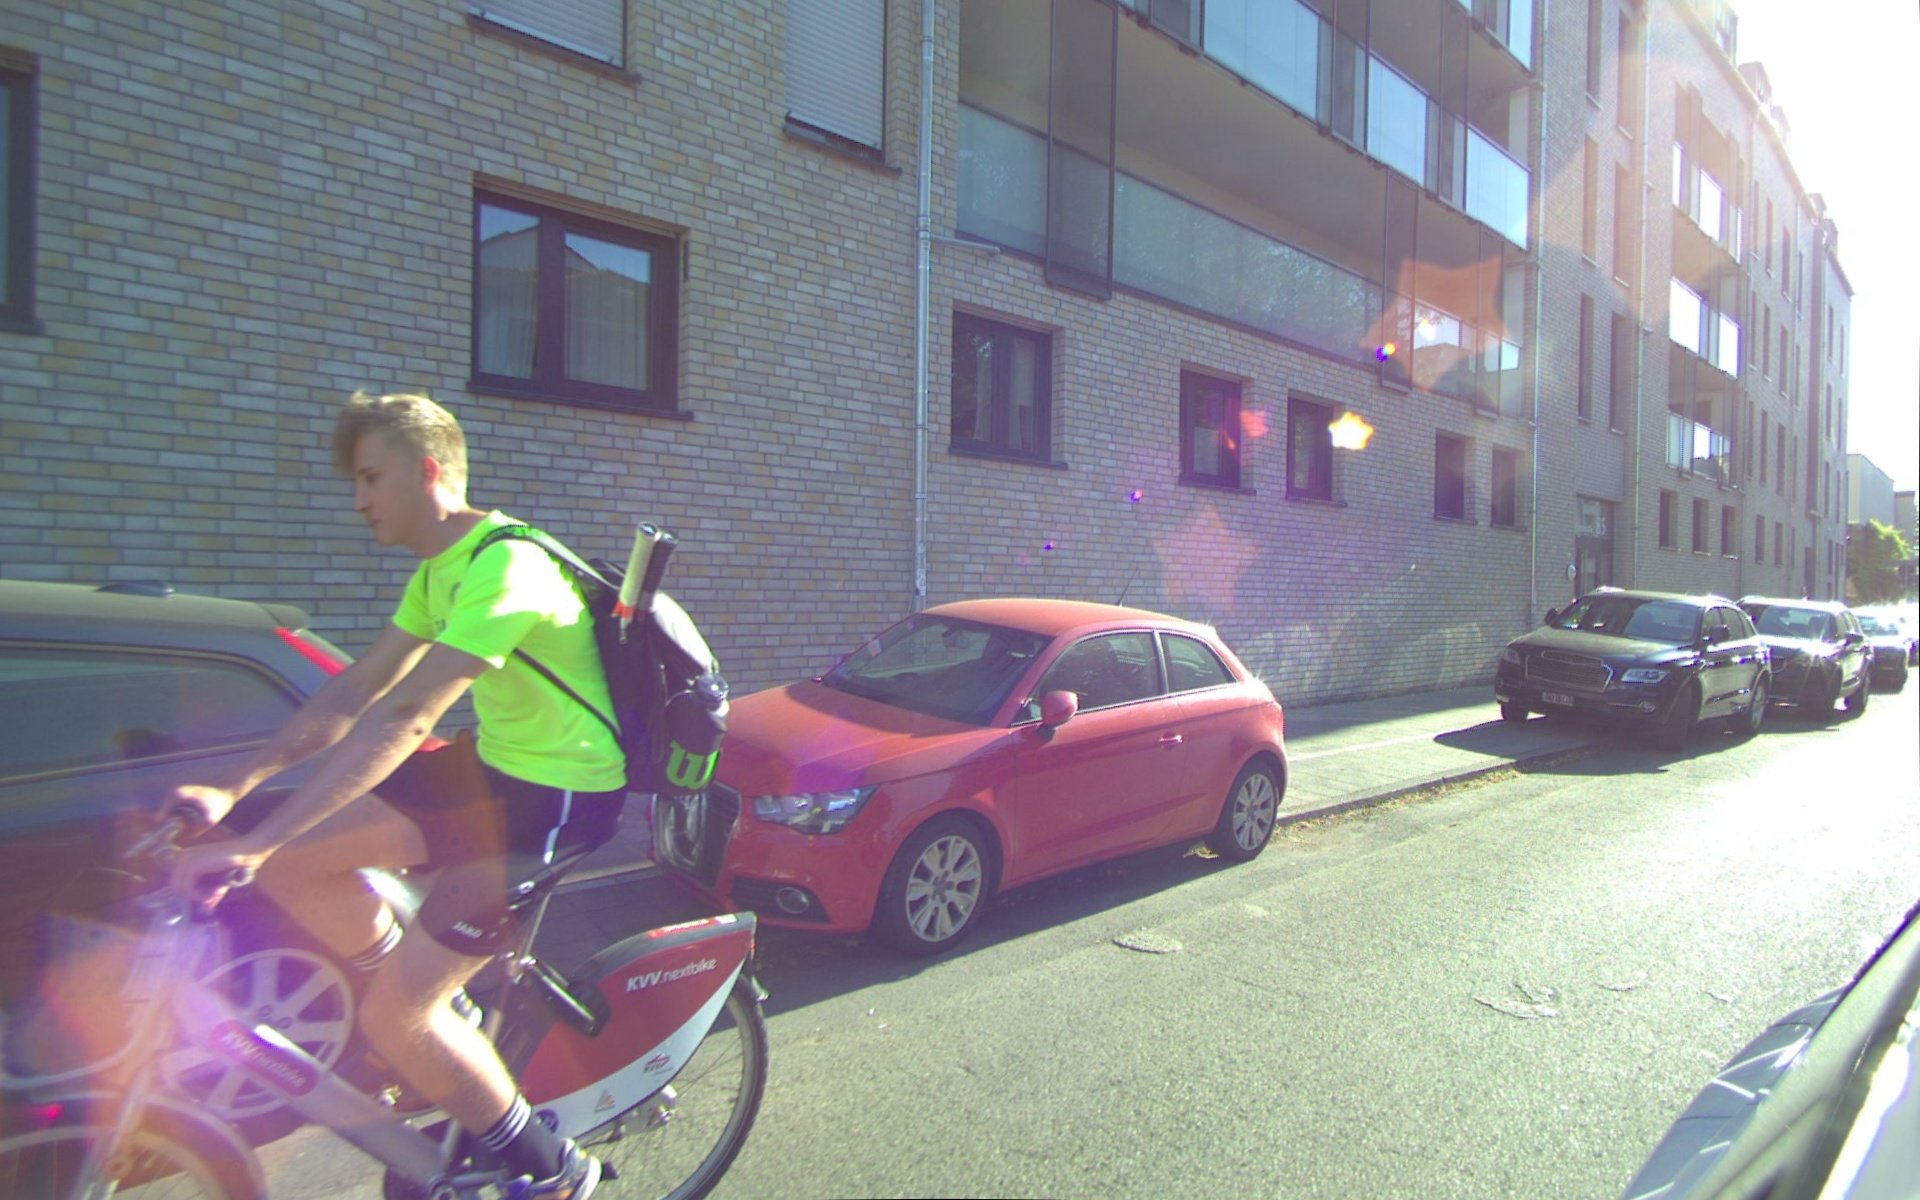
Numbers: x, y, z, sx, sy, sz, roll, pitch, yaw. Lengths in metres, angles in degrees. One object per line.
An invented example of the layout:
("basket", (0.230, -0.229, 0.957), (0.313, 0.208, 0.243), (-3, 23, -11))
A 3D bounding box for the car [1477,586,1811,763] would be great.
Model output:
("car", (8.360, 0.769, 12.210), (4.684, 1.734, 1.895), (1, 0, -37))

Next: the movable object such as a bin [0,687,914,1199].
("movable object such as a bin", (-0.942, 0.777, 2.029), (1.809, 1.046, 0.455), (-1, -1, -43))

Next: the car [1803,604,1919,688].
("car", (19.142, 0.870, 21.301), (1.698, 1.485, 4.643), (4, 3, 45))

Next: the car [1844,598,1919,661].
("car", (26.489, 0.790, 28.568), (4.547, 1.548, 1.728), (0, 4, -43))

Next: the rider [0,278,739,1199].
("rider", (-1.071, 0.367, 1.909), (1.065, 1.581, 0.654), (-1, -1, -43))

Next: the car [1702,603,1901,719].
("car", (13.121, 0.825, 15.691), (4.197, 1.485, 1.819), (0, 1, -43))

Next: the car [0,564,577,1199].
("car", (-3.466, 0.648, 2.488), (4.291, 1.524, 1.997), (1, 1, -42))

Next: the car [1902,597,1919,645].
("car", (34.248, 0.770, 35.465), (1.651, 1.611, 4.273), (4, 2, 44))

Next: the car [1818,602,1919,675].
("car", (22.261, 0.853, 24.655), (4.150, 1.534, 1.665), (0, 3, -45))

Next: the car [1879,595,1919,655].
("car", (30.417, 0.764, 32.008), (4.759, 1.755, 1.669), (0, 1, -44))

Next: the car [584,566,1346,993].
("car", (0.271, 0.633, 5.557), (4.002, 1.421, 1.717), (1, 4, -41))
